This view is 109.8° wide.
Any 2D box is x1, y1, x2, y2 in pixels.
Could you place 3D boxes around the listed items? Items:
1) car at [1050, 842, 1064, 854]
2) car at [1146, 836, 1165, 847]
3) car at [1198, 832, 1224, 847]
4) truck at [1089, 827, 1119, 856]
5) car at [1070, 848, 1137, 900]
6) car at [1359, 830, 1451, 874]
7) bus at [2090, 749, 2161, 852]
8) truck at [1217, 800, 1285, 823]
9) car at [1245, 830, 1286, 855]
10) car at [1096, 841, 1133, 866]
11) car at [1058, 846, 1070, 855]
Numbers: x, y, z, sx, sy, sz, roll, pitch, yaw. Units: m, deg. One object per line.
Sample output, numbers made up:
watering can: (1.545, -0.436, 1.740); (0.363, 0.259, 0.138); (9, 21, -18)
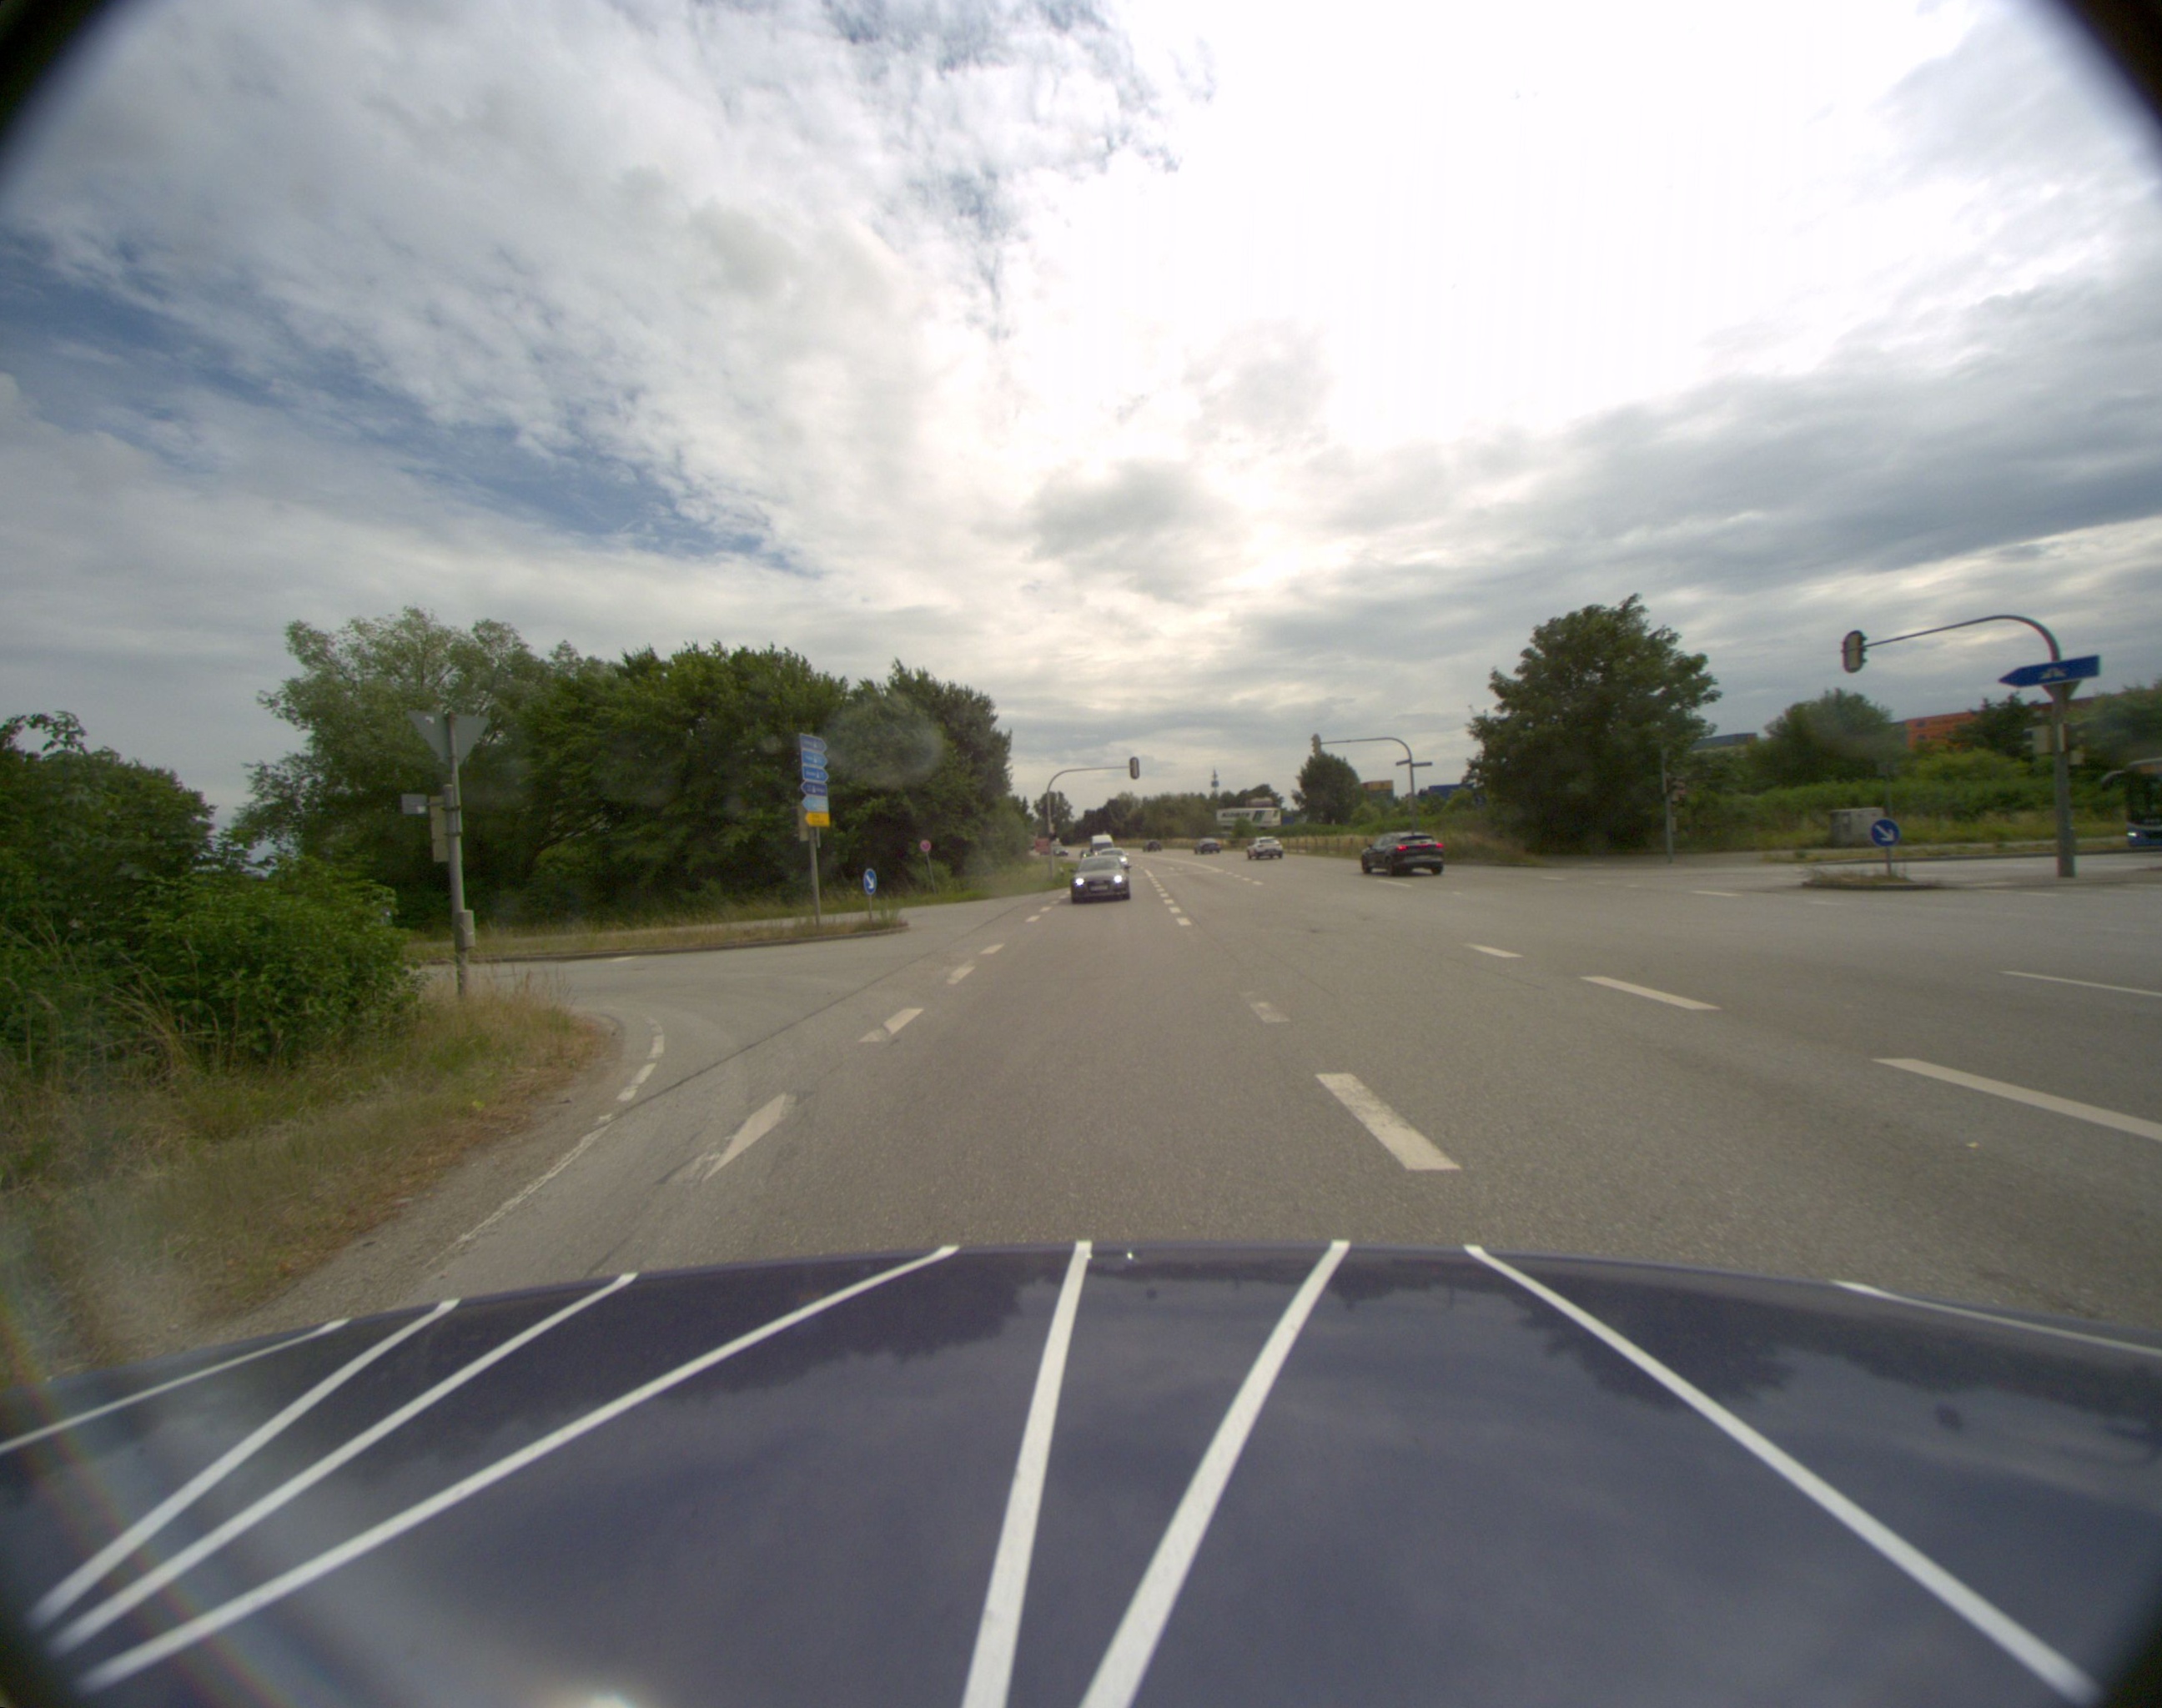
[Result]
car: (-4.007, -1.018, 126.948); (2.000, 2.002, 3.997); (-2, 1, -7)
car: (10.000, -1.687, 102.455); (1.745, 1.378, 3.997); (-5, 2, -6)
car: (12.945, -1.469, 75.956); (1.744, 1.378, 3.998); (-5, 2, 0)
truck: (2.239, -1.163, 71.417); (2.378, 2.578, 6.000); (-2, 1, 6)
car: (0.812, 0.595, 25.704); (1.964, 1.447, 4.797); (-4, 1, 3)
car: (11.698, -0.117, 27.713); (1.744, 1.377, 4.000); (-4, 1, 3)
bus: (36.851, -1.819, 22.931); (10.072, 3.029, 3.119); (-3, 1, -8)
truck: (32.716, -8.190, 147.182); (3.368, 4.303, 14.168); (-4, 5, -36)
car: (12.579, -0.790, 51.993); (1.744, 1.477, 3.999); (-5, 1, 0)
car: (2.073, -0.051, 48.265); (1.827, 1.489, 4.222); (-1, 0, -4)
car: (-2.560, -0.491, 115.001); (1.744, 1.317, 3.999); (0, 0, -2)
